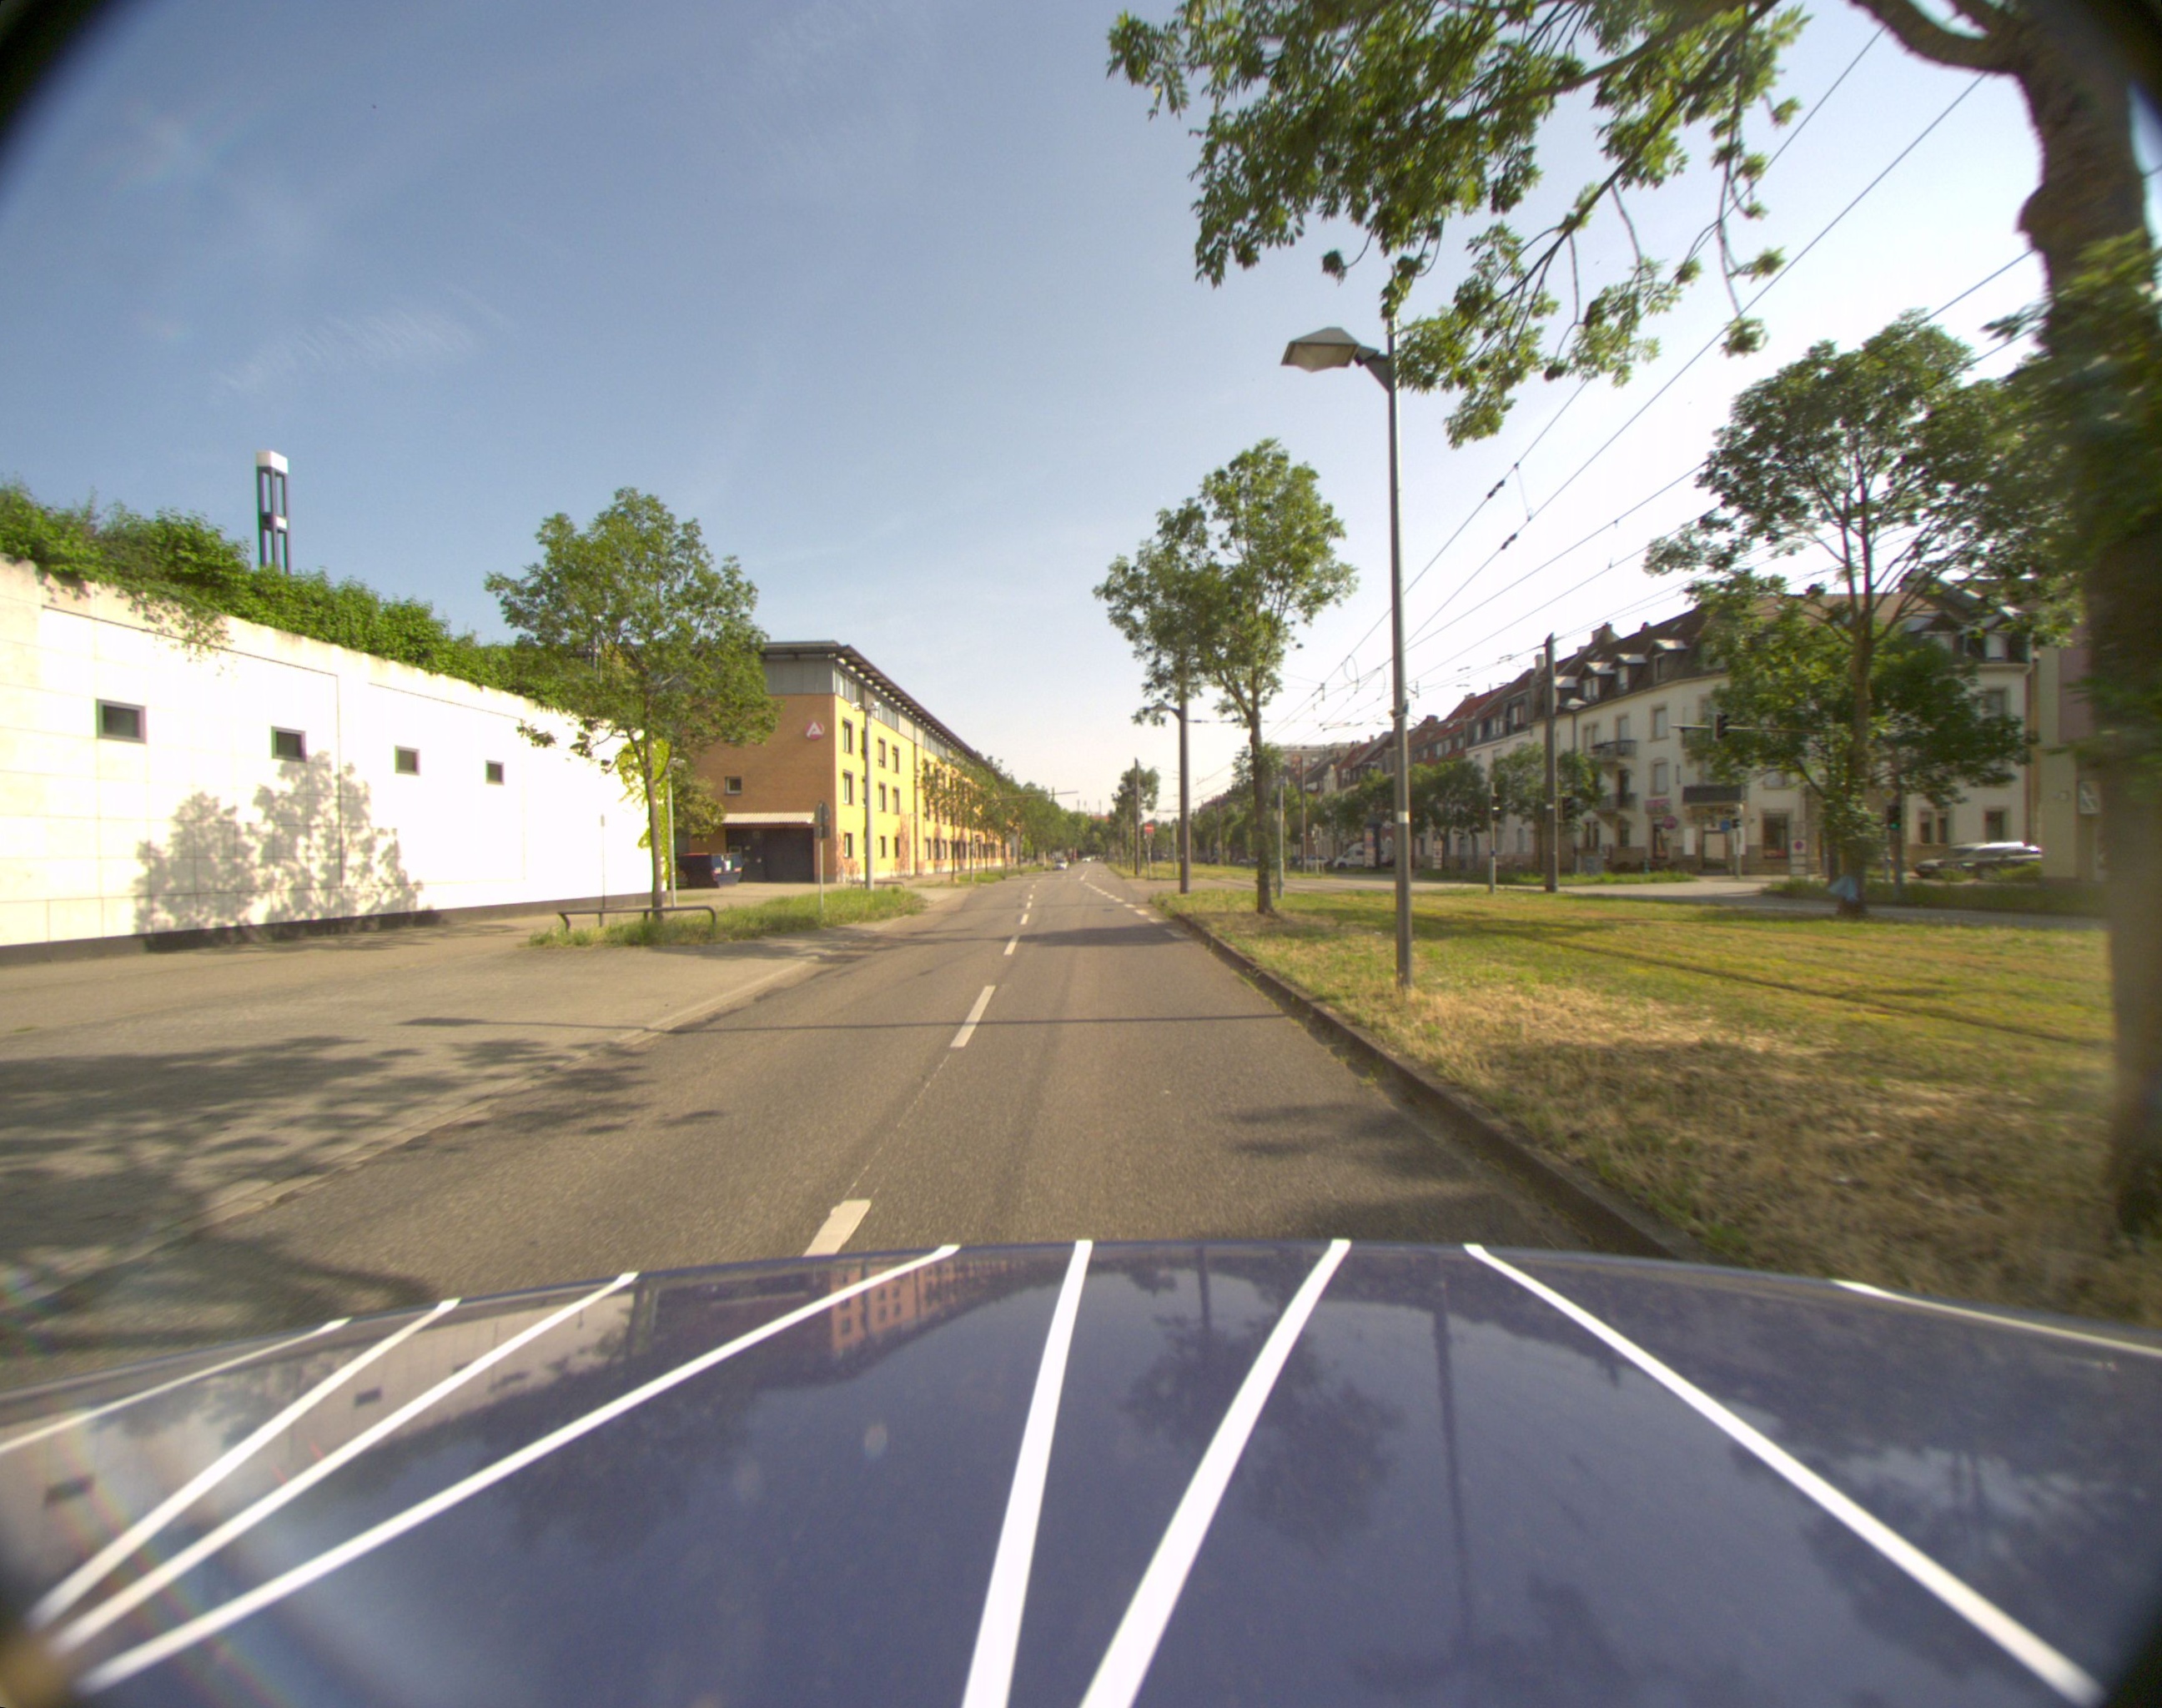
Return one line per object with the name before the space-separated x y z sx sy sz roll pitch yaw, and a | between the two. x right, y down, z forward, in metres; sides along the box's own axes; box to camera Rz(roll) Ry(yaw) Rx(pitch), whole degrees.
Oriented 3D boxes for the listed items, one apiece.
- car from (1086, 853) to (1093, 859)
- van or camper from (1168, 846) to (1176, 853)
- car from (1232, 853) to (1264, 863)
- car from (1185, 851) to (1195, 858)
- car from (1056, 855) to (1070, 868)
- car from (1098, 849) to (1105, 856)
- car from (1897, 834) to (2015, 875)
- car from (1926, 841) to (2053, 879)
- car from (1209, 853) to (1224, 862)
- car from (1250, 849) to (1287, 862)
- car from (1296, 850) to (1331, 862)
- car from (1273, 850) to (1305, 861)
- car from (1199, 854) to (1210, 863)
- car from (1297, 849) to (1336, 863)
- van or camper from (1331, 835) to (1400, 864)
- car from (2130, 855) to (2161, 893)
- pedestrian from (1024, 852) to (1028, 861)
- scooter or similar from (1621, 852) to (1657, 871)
car | 2.243 0.482 196.315 1.693 1.476 3.366 -3 1 0
van or camper | 29.539 -1.561 245.989 1.956 2.085 5.352 -3 1 1
car | 28.159 0.699 127.959 4.765 1.477 2.026 -3 1 33
car | 26.196 0.178 182.413 1.952 1.451 4.649 -3 1 4
car | -2.243 0.893 95.817 1.629 1.476 3.366 -3 1 0
car | 6.145 -0.515 227.731 1.998 2.002 4.000 -3 1 2
car | 45.235 0.011 39.317 3.997 1.839 1.833 -3 1 -1
car | 44.093 0.276 36.942 3.997 1.611 1.833 -3 1 -1
car | 23.143 0.581 129.828 1.817 1.425 3.925 -3 1 1
car | 28.312 0.225 114.767 4.939 1.716 1.860 -3 1 36
car | 27.766 0.299 90.804 3.677 1.234 1.665 -3 1 36
car | 27.787 0.191 101.494 3.677 1.234 1.665 -3 1 36
car | 23.614 0.850 145.142 1.768 1.646 4.001 -3 1 5
car | 27.411 0.239 88.501 4.004 1.309 1.665 -3 1 36
van or camper | 28.013 -0.450 74.988 5.910 2.559 2.203 -3 1 36
car | 45.857 0.770 31.200 3.406 1.453 1.569 -3 1 -1
pedestrian | -10.066 0.505 139.572 0.697 1.647 0.773 0 1 1
scooter or similar | 31.837 0.425 43.382 0.743 1.062 1.486 -4 1 -20
